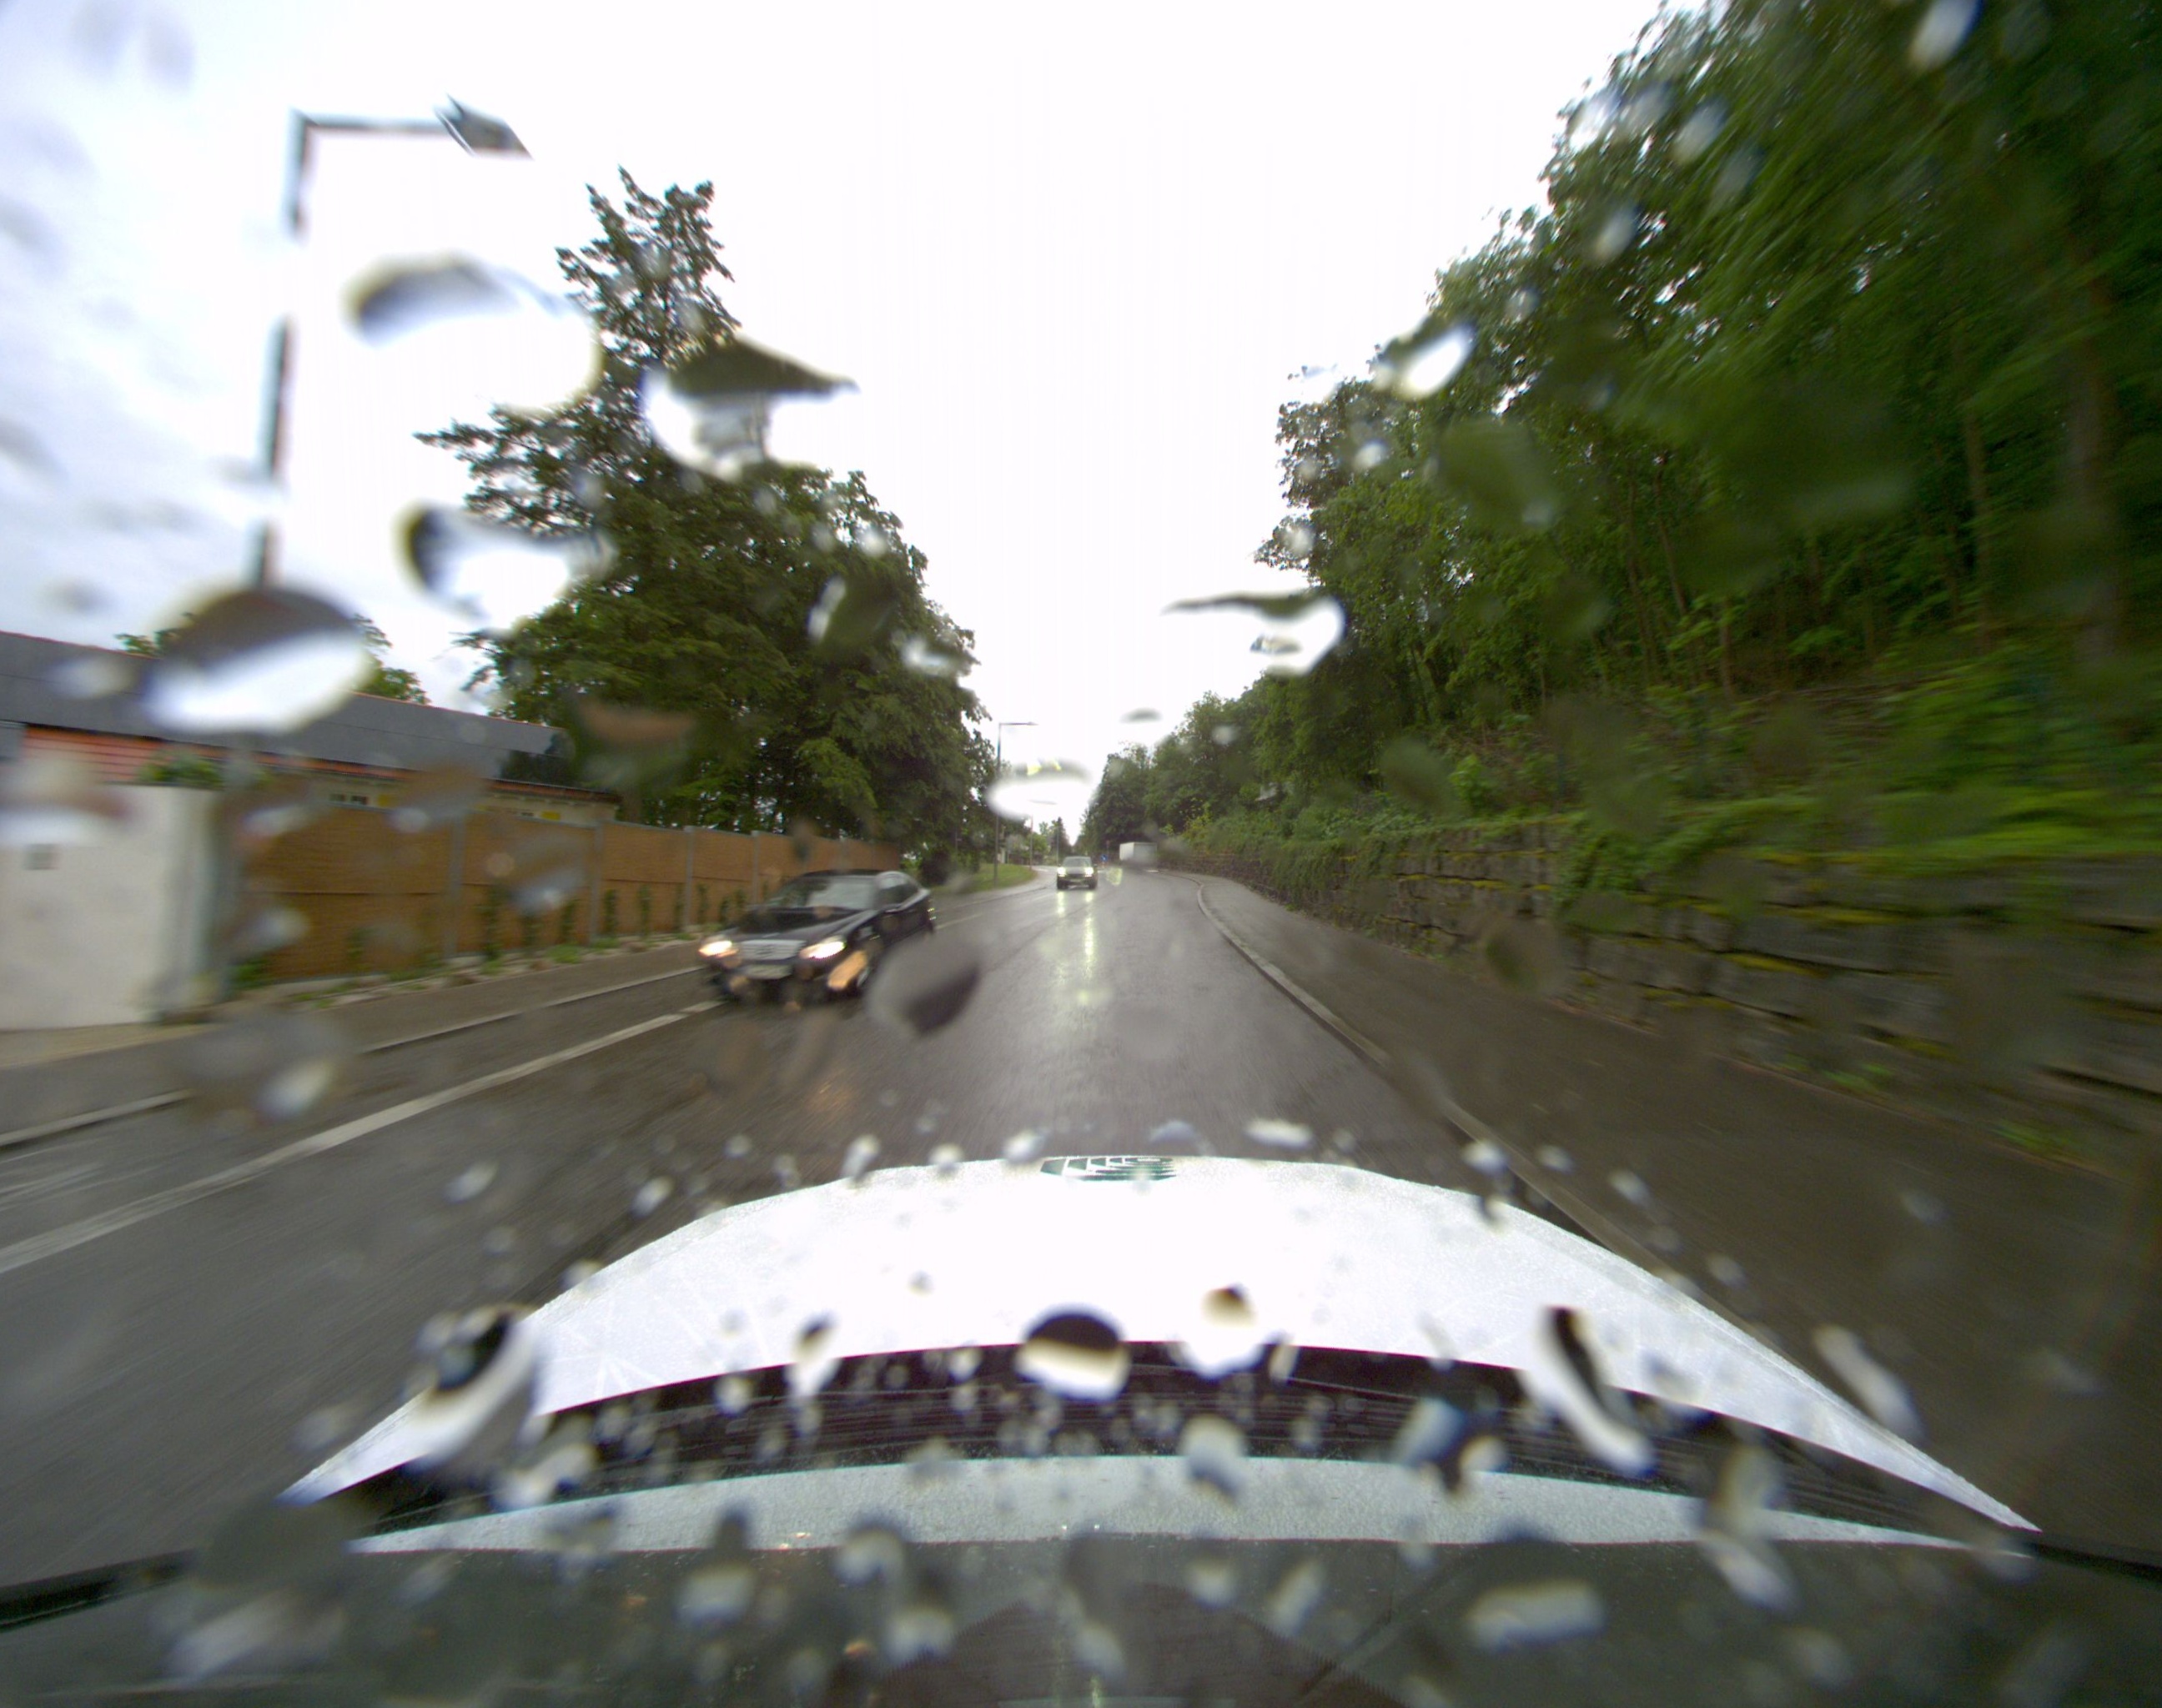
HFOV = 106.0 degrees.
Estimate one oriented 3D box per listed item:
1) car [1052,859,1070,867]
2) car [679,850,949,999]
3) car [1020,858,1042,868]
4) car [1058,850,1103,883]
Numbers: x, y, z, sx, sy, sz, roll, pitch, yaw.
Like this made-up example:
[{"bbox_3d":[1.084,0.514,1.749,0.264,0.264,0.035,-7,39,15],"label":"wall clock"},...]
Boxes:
[{"bbox_3d":[-4.062,1.763,165.425,1.947,1.389,3.960,5,-2,-31],"label":"car"},{"bbox_3d":[-3.127,0.741,10.560,1.826,1.511,4.173,1,0,4],"label":"car"},{"bbox_3d":[-9.614,1.691,156.852,3.951,1.632,2.025,3,-2,45],"label":"car"},{"bbox_3d":[0.047,0.646,43.494,1.908,1.648,4.554,0,0,6],"label":"car"}]
